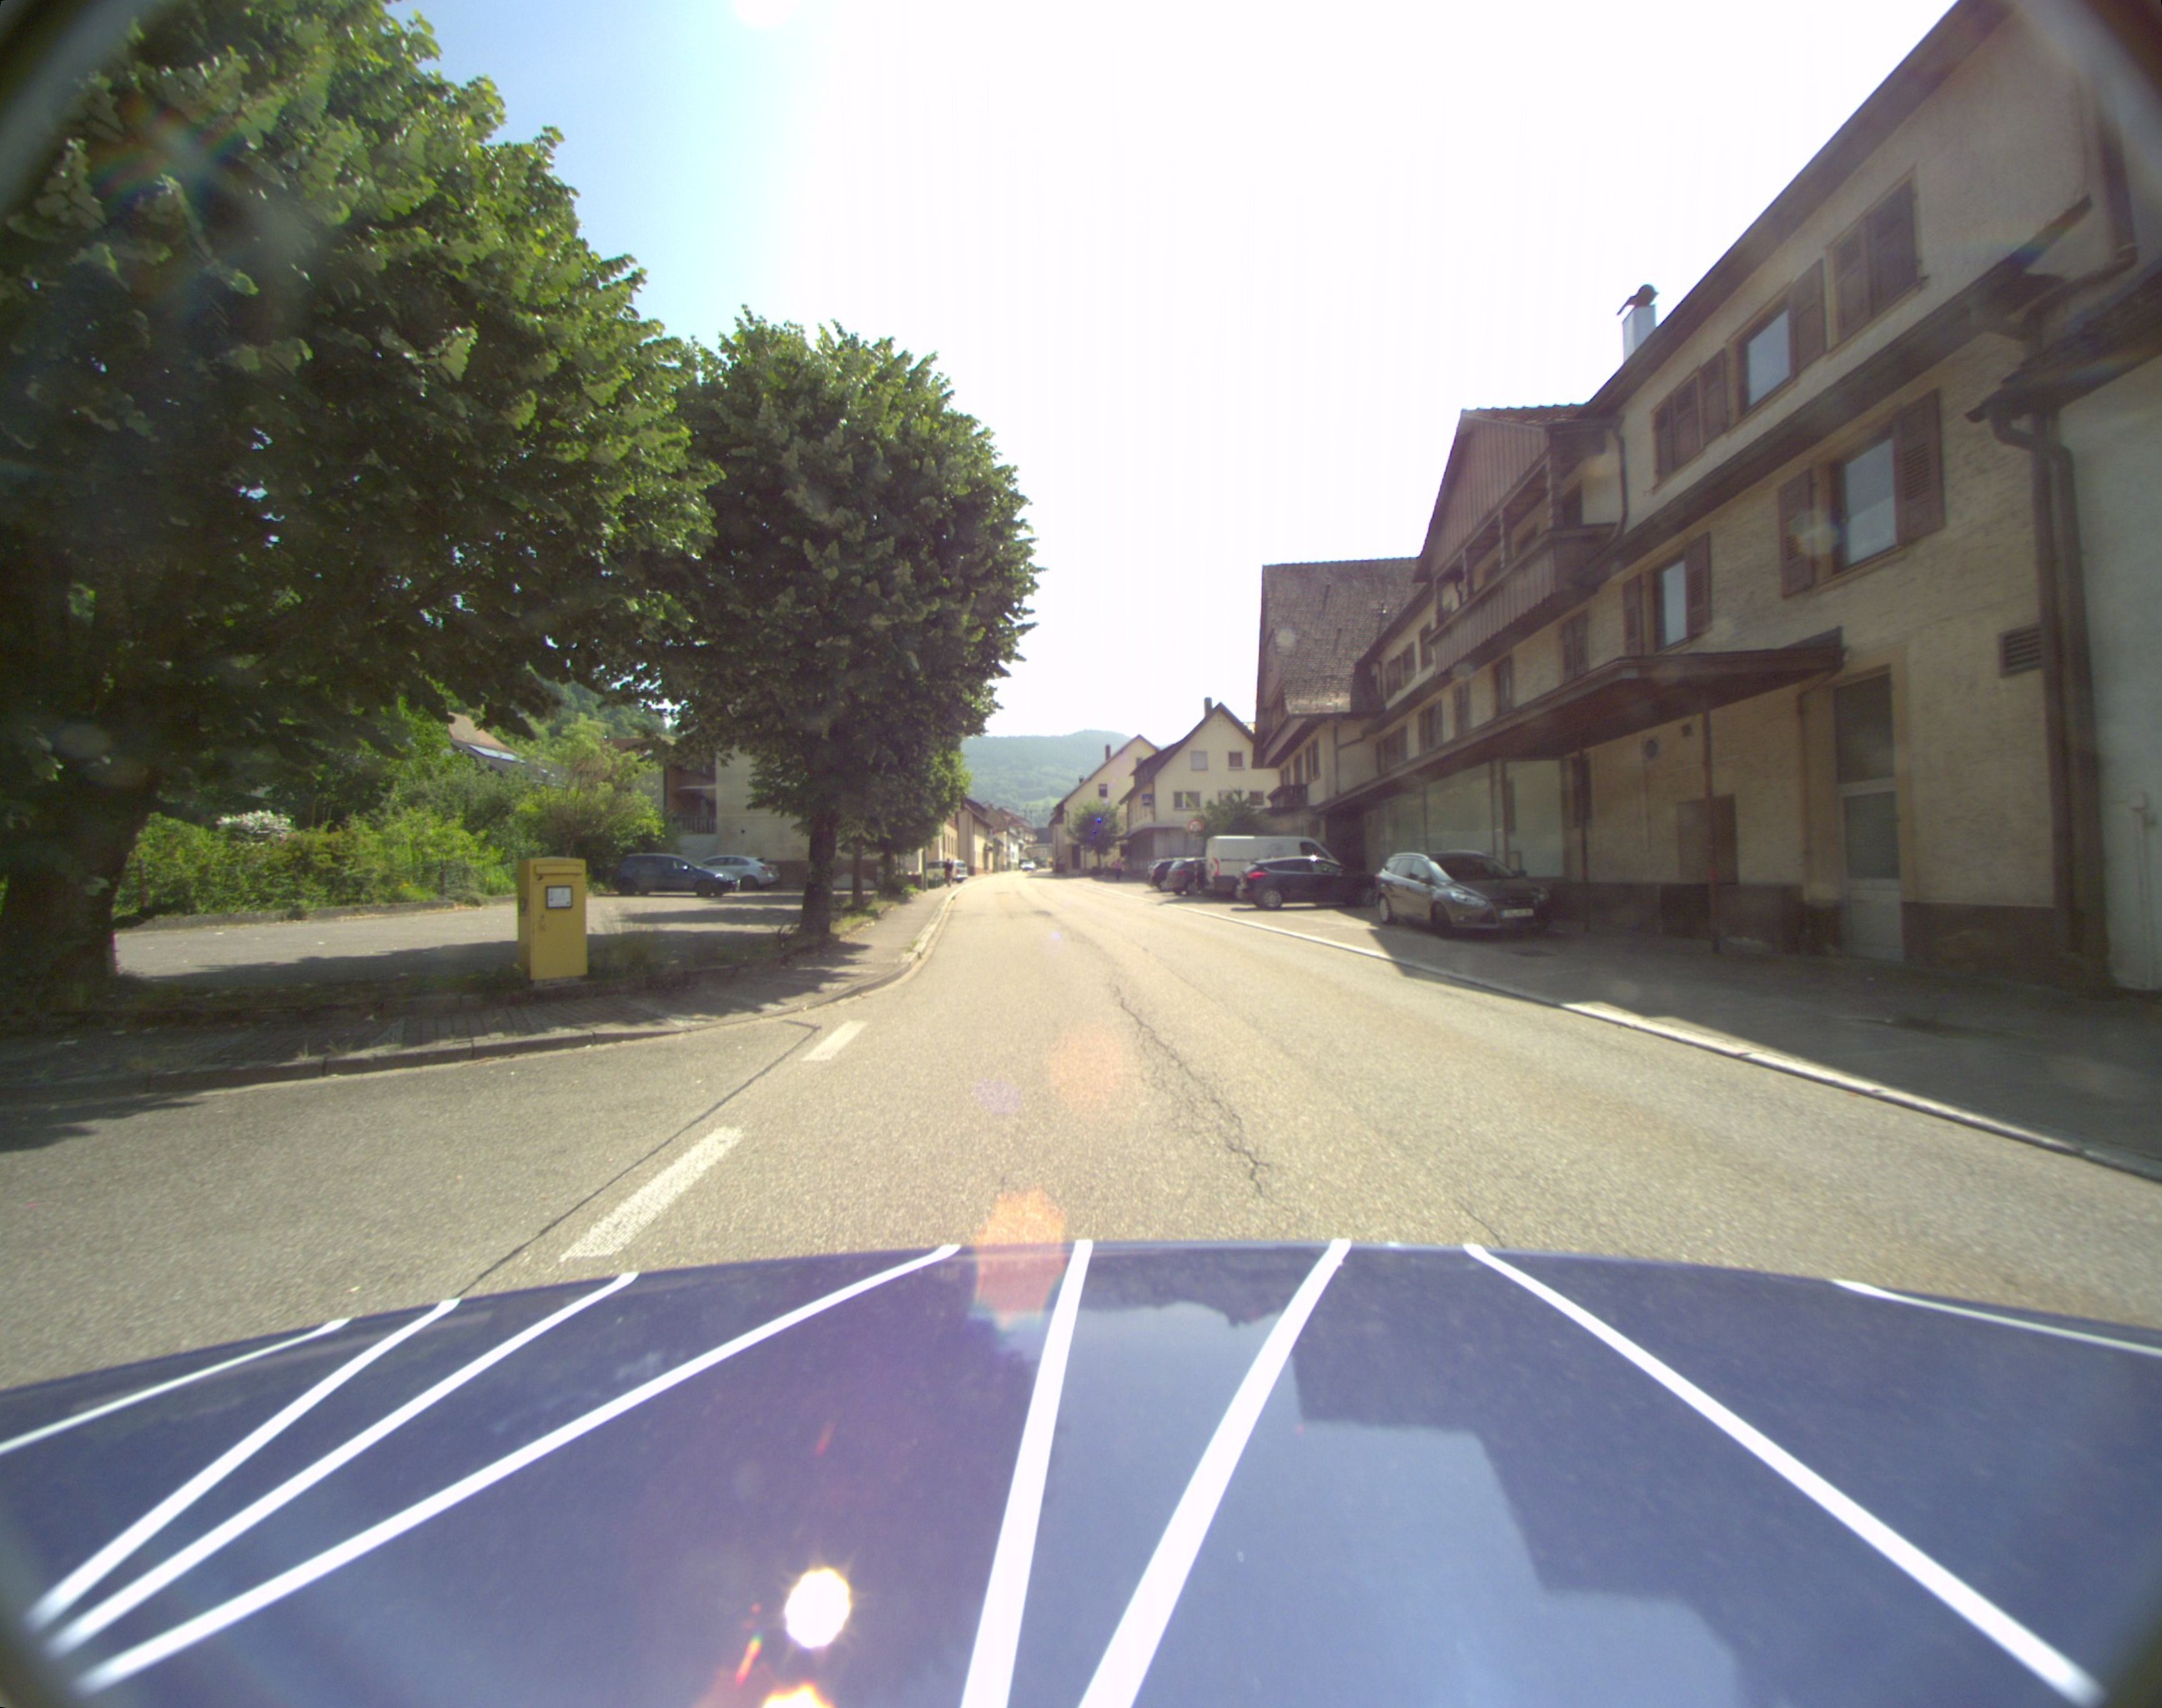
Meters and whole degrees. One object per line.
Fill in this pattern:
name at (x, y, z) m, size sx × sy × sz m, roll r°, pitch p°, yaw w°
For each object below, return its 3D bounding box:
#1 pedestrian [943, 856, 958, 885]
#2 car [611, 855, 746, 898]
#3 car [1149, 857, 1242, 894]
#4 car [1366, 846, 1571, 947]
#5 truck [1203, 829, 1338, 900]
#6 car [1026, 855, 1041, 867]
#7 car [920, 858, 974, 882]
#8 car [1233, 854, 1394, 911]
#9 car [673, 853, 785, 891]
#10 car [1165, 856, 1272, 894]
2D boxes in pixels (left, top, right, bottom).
pedestrian at (-7.530, 0.929, 43.910) m, size 0.681 × 1.661 × 0.712 m, roll 0°, pitch 0°, yaw 5°
car at (-14.024, 0.773, 26.668) m, size 3.845 × 1.399 × 1.565 m, roll 2°, pitch 0°, yaw -9°
car at (5.047, 0.937, 33.868) m, size 3.995 × 1.563 × 1.578 m, roll 0°, pitch 0°, yaw 7°
car at (6.999, 0.694, 14.308) m, size 1.774 × 1.544 × 4.286 m, roll -2°, pitch 0°, yaw 3°
truck at (6.592, 0.363, 26.719) m, size 4.176 × 2.253 × 2.000 m, roll -2°, pitch 0°, yaw 0°
car at (-8.471, 1.261, 135.550) m, size 1.998 × 2.002 × 4.001 m, roll -5°, pitch 0°, yaw 5°
car at (-9.427, 1.111, 53.384) m, size 3.339 × 1.587 × 1.653 m, roll 0°, pitch 0°, yaw 17°
car at (6.540, 0.792, 21.708) m, size 4.104 × 1.494 × 1.754 m, roll -1°, pitch 0°, yaw 3°
car at (-14.693, 0.729, 31.905) m, size 3.949 × 1.462 × 1.654 m, roll 2°, pitch 0°, yaw -11°
car at (5.491, 0.835, 30.668) m, size 3.997 × 1.444 × 1.628 m, roll 0°, pitch 0°, yaw 1°
